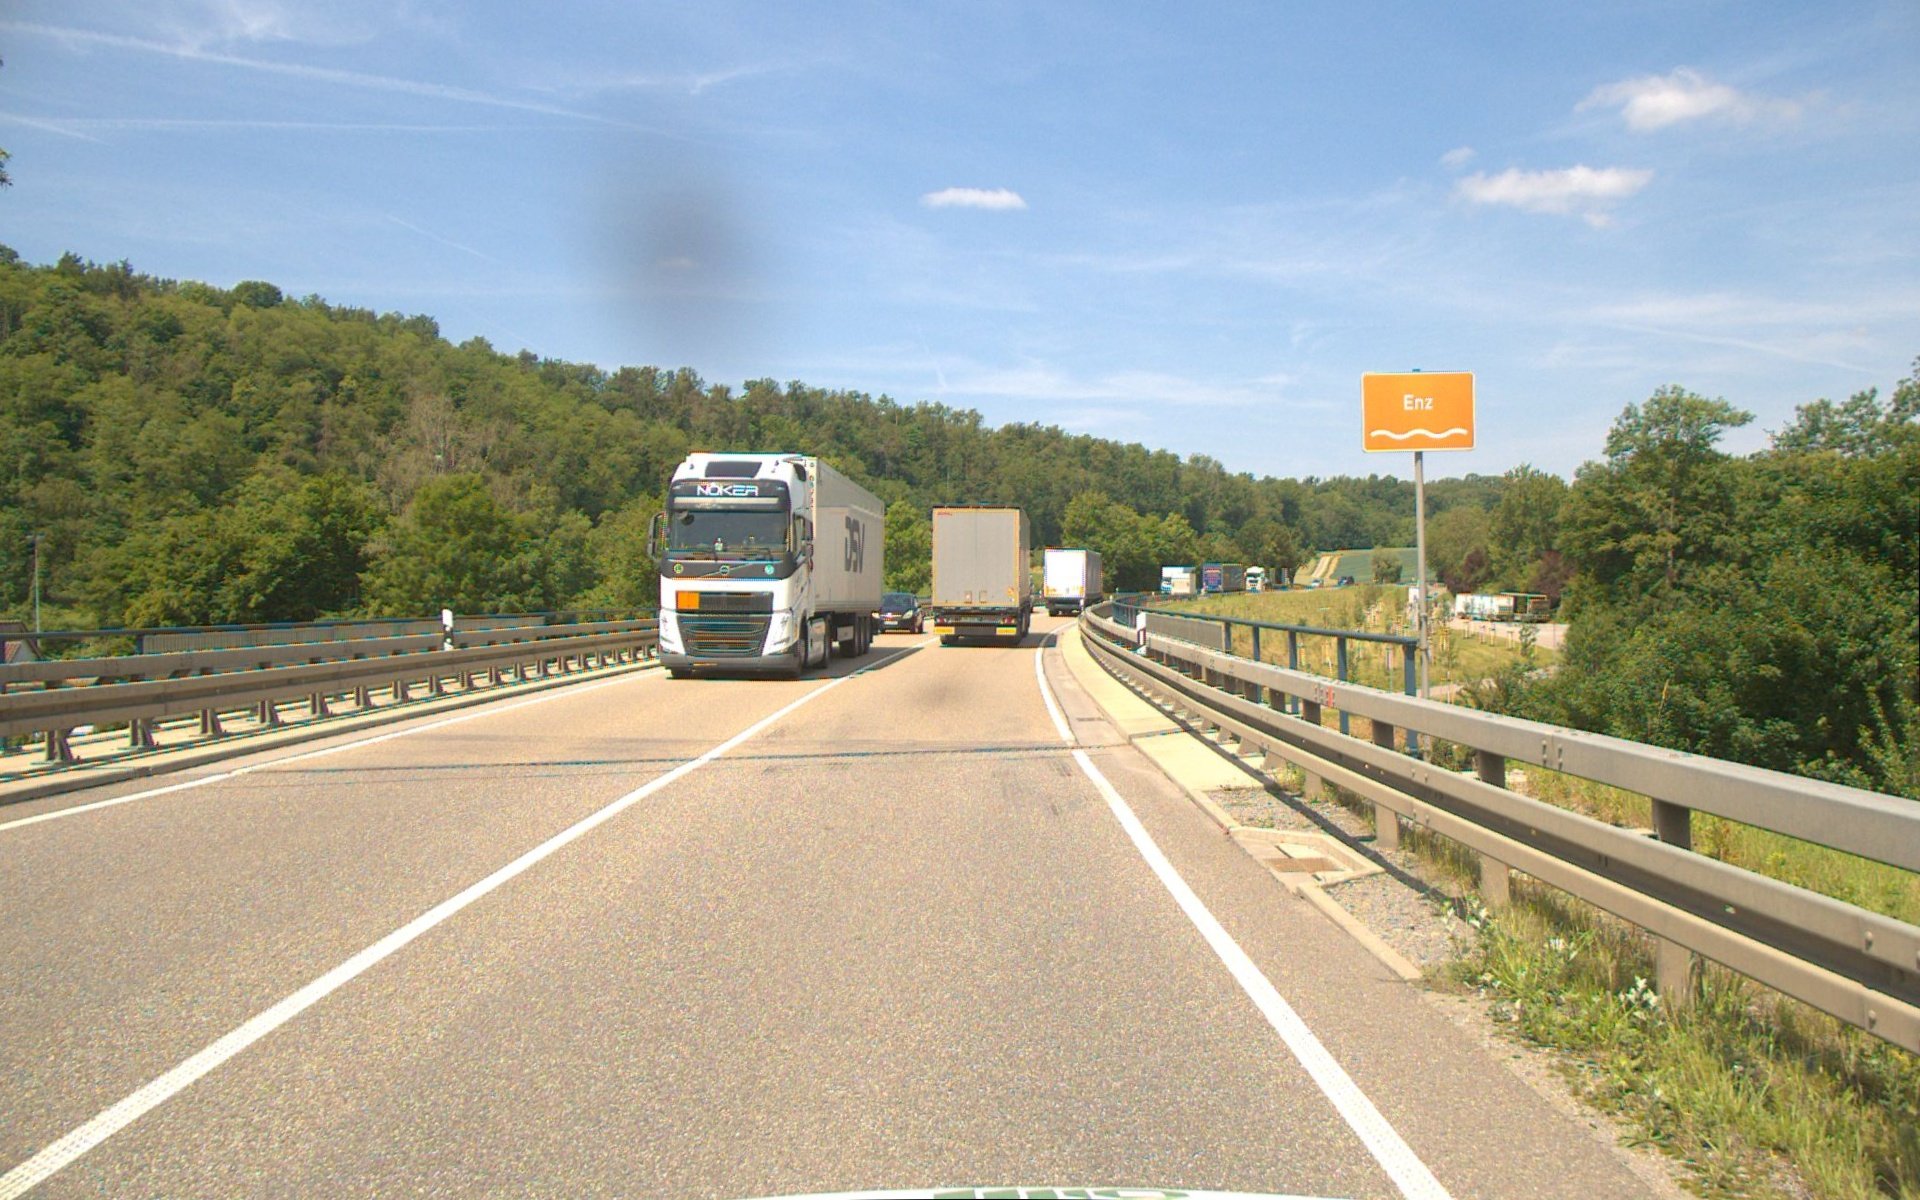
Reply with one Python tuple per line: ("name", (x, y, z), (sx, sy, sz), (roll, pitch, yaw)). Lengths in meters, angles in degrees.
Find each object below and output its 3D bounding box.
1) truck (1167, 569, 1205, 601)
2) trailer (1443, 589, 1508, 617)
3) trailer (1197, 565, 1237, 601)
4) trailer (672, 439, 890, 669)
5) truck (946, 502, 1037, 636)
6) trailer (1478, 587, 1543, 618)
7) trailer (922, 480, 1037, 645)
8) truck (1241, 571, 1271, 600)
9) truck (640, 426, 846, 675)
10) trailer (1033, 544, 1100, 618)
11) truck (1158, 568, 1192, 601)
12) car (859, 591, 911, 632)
("truck", (25.574, -1.638, 186.712), (3.154, 3.424, 11.885), (0, 0, 13))
("trailer", (67.822, 0.303, 217.944), (2.670, 3.385, 11.862), (0, 1, -12))
("trailer", (32.347, -2.131, 207.734), (3.570, 4.337, 12.203), (0, 0, 15))
("trailer", (-3.651, -0.847, 38.127), (2.794, 4.261, 14.501), (1, 0, 2))
("truck", (1.239, -1.077, 60.040), (3.053, 4.573, 6.814), (0, 0, 3))
("trailer", (71.426, 0.279, 214.913), (2.669, 3.669, 11.869), (1, 1, -10))
("trailer", (0.862, -1.045, 53.074), (3.053, 4.578, 13.891), (0, 0, 3))
("truck", (44.986, -2.184, 251.398), (2.997, 4.337, 9.871), (0, 0, 19))
("truck", (-3.934, -0.853, 31.461), (2.787, 4.233, 6.332), (1, 0, 2))
("trailer", (6.922, -1.156, 105.275), (3.293, 4.392, 13.875), (0, 0, 8))
("truck", (26.304, -1.968, 201.828), (2.852, 3.870, 9.716), (0, 1, 15))
("car", (-2.769, 0.402, 61.539), (1.627, 1.483, 3.895), (0, 0, 2))
